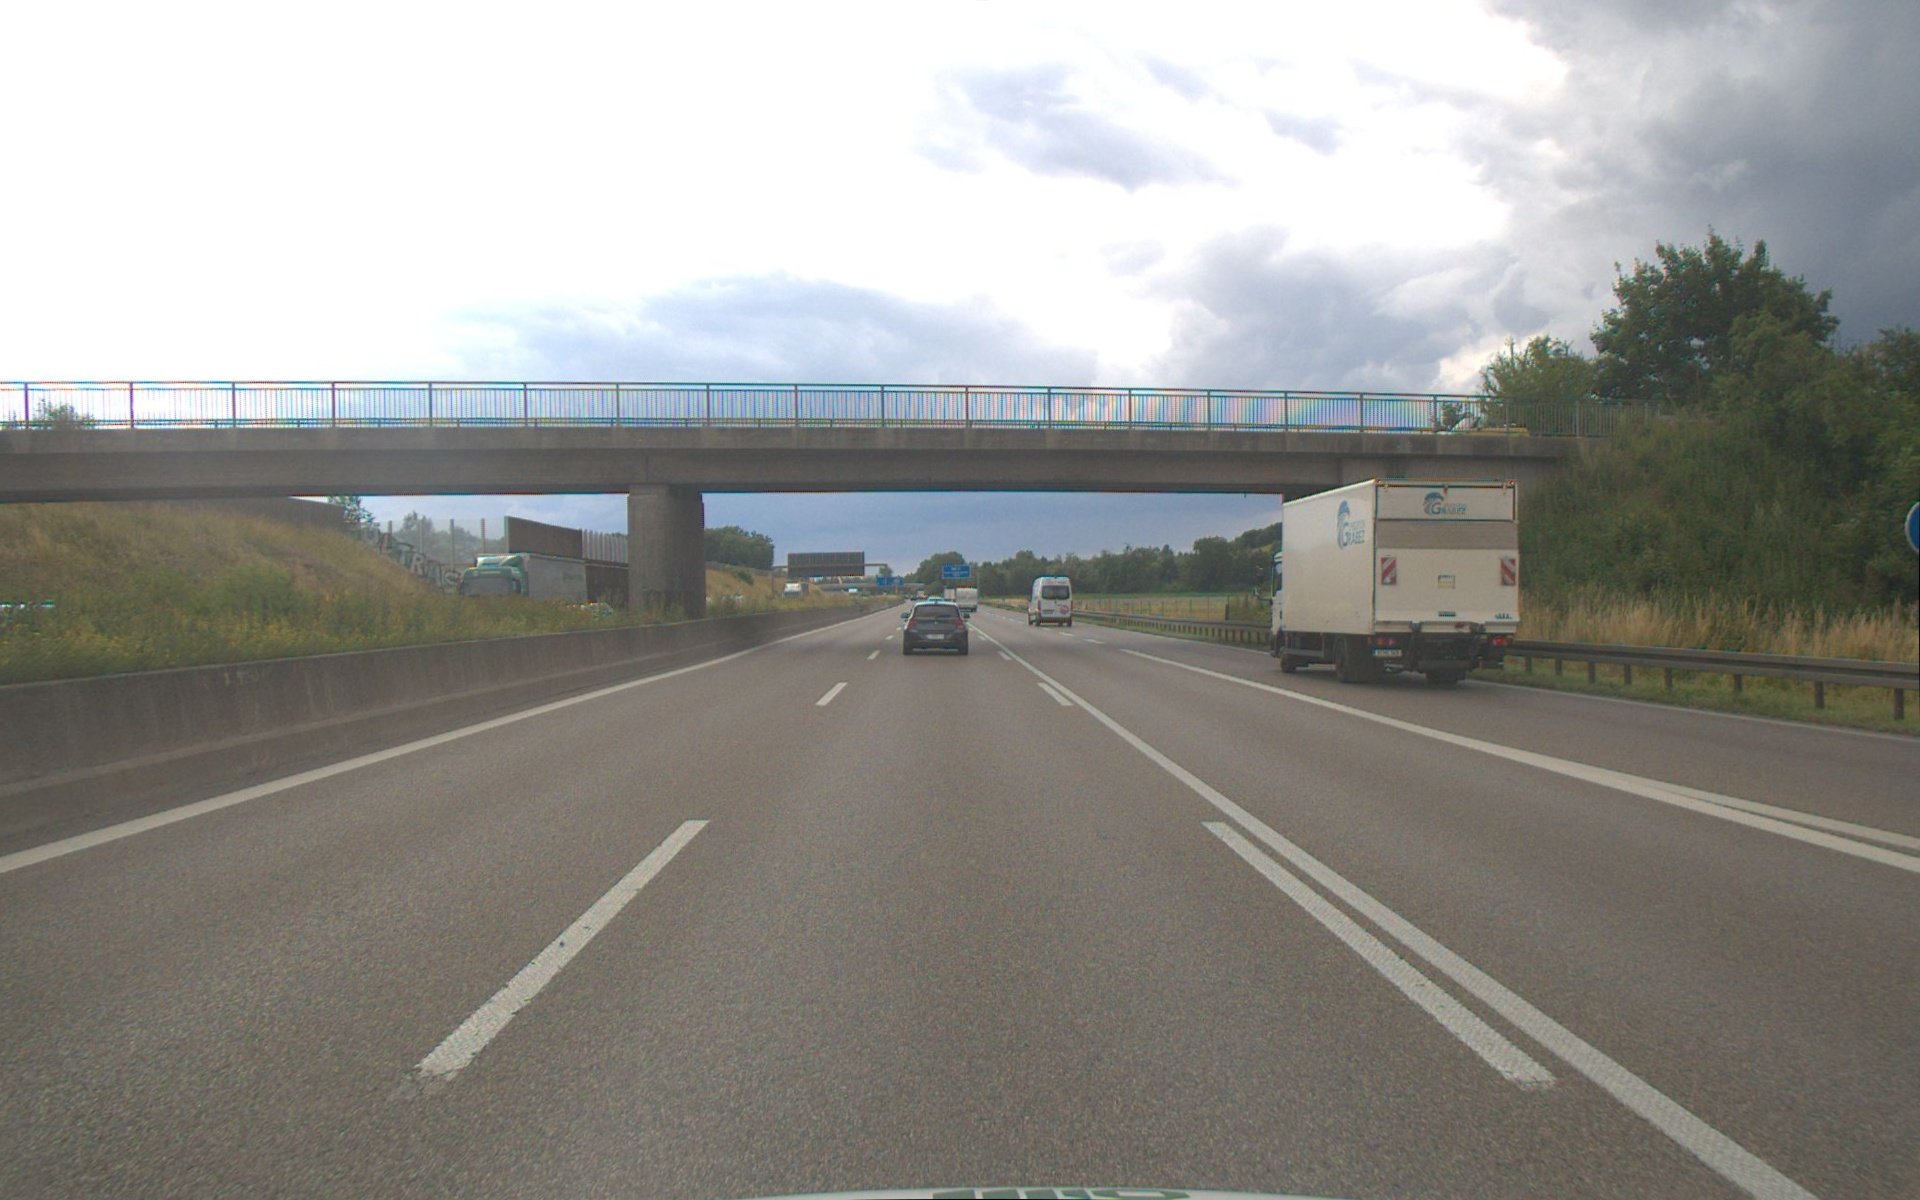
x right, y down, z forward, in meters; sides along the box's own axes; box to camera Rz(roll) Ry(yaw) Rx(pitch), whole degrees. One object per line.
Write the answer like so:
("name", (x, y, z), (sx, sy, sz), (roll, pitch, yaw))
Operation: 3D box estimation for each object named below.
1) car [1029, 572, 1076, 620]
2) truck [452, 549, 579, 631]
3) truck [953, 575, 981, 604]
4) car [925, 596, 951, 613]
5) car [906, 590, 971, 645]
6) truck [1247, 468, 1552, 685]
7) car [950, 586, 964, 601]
("car", (5.144, -0.240, 92.777), (2.176, 2.613, 6.255), (0, 0, -1))
("truck", (-21.801, -0.436, 82.075), (2.936, 3.748, 13.006), (0, 0, -1))
("truck", (0.715, -1.137, 182.855), (2.655, 3.016, 12.443), (1, 0, -1))
("car", (-1.772, 0.332, 130.169), (1.953, 1.321, 3.999), (-1, 0, -2))
("car", (-0.597, 0.455, 45.048), (1.708, 1.413, 3.999), (0, 0, -1))
("truck", (8.053, -0.390, 31.801), (3.042, 3.531, 8.885), (1, 0, -3))
("car", (-0.473, -0.970, 246.195), (1.953, 2.049, 3.999), (-1, 0, -2))
